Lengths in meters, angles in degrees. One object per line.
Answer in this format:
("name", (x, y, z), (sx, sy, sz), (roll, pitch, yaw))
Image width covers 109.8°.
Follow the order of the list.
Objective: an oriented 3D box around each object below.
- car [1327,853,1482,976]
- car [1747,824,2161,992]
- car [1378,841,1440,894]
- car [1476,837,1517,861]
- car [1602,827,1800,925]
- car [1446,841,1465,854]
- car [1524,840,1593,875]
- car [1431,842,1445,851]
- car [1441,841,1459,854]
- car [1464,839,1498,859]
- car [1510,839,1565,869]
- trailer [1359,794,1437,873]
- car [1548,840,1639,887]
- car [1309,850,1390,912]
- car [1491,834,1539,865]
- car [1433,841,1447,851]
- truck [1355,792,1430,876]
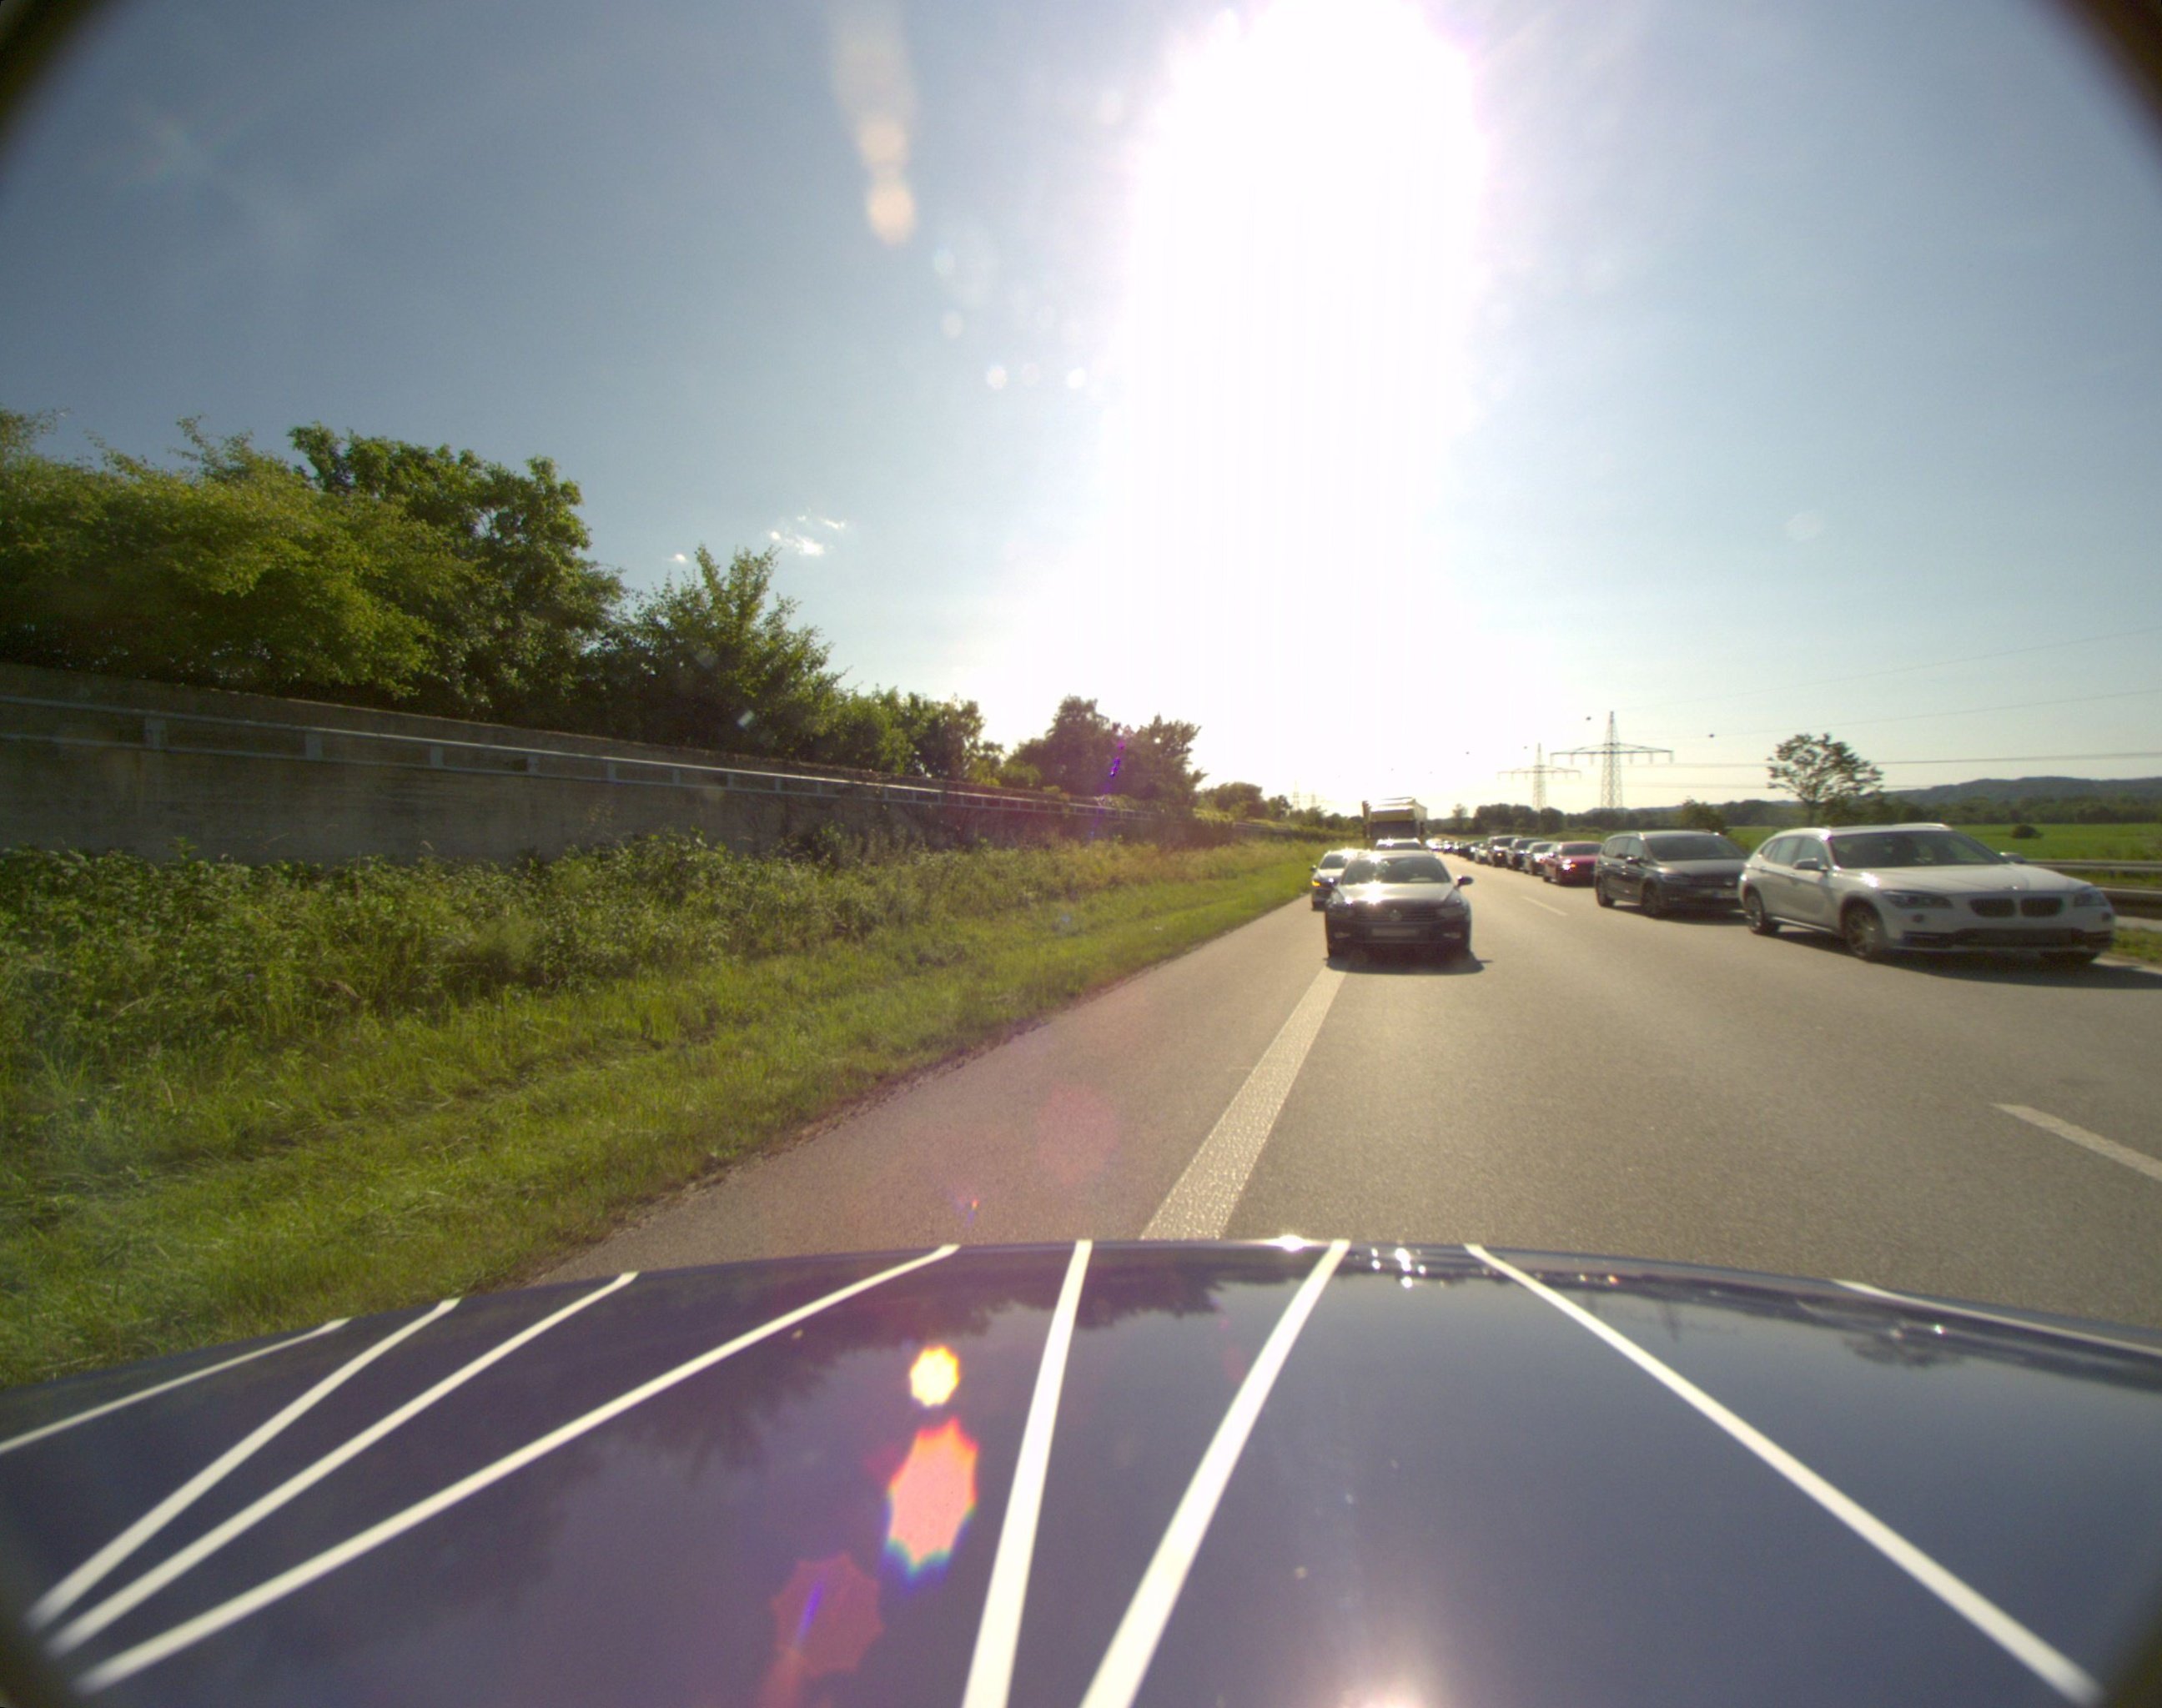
("car", (4.831, 0.753, 11.406), (1.714, 1.405, 4.332), (-2, 0, 23))
("car", (10.130, 0.489, 9.264), (1.829, 1.564, 4.170), (-2, 0, 23))
("car", (11.128, 0.390, 25.823), (1.714, 1.614, 4.332), (-2, 0, 23))
("car", (28.346, -0.337, 51.922), (1.995, 1.522, 4.006), (-1, 1, 22))
("car", (11.792, 0.362, 14.801), (1.817, 1.606, 4.123), (-2, 0, 22))
("car", (43.855, -0.783, 88.947), (1.816, 1.450, 4.124), (-1, 1, 24))
("car", (20.777, 0.124, 33.236), (1.892, 1.390, 4.006), (-1, 1, 22))
("car", (56.802, -1.179, 120.926), (1.816, 1.450, 4.124), (-1, 1, 24))
("car", (46.971, -0.849, 96.792), (1.817, 1.450, 4.123), (-3, 0, 23))
("car", (31.837, -0.404, 60.551), (1.995, 1.522, 4.006), (-1, 1, 22))
("car", (23.240, -0.011, 38.815), (1.891, 1.447, 4.006), (-1, 1, 23))
("trailer", (19.913, -1.246, 47.031), (3.382, 4.089, 13.974), (-2, 1, 27))
("car", (16.985, 0.273, 25.377), (1.816, 1.450, 4.124), (-1, 1, 24))
("car", (7.303, 0.659, 20.418), (1.714, 1.417, 4.332), (-2, 0, 23))
("car", (25.761, -0.286, 45.215), (1.899, 1.777, 4.206), (-1, 1, 22))
("car", (54.598, -1.265, 115.716), (1.817, 1.450, 4.124), (-3, 0, 24))
("truck", (17.174, -1.076, 41.560), (3.328, 4.089, 6.980), (-3, 1, 25))
